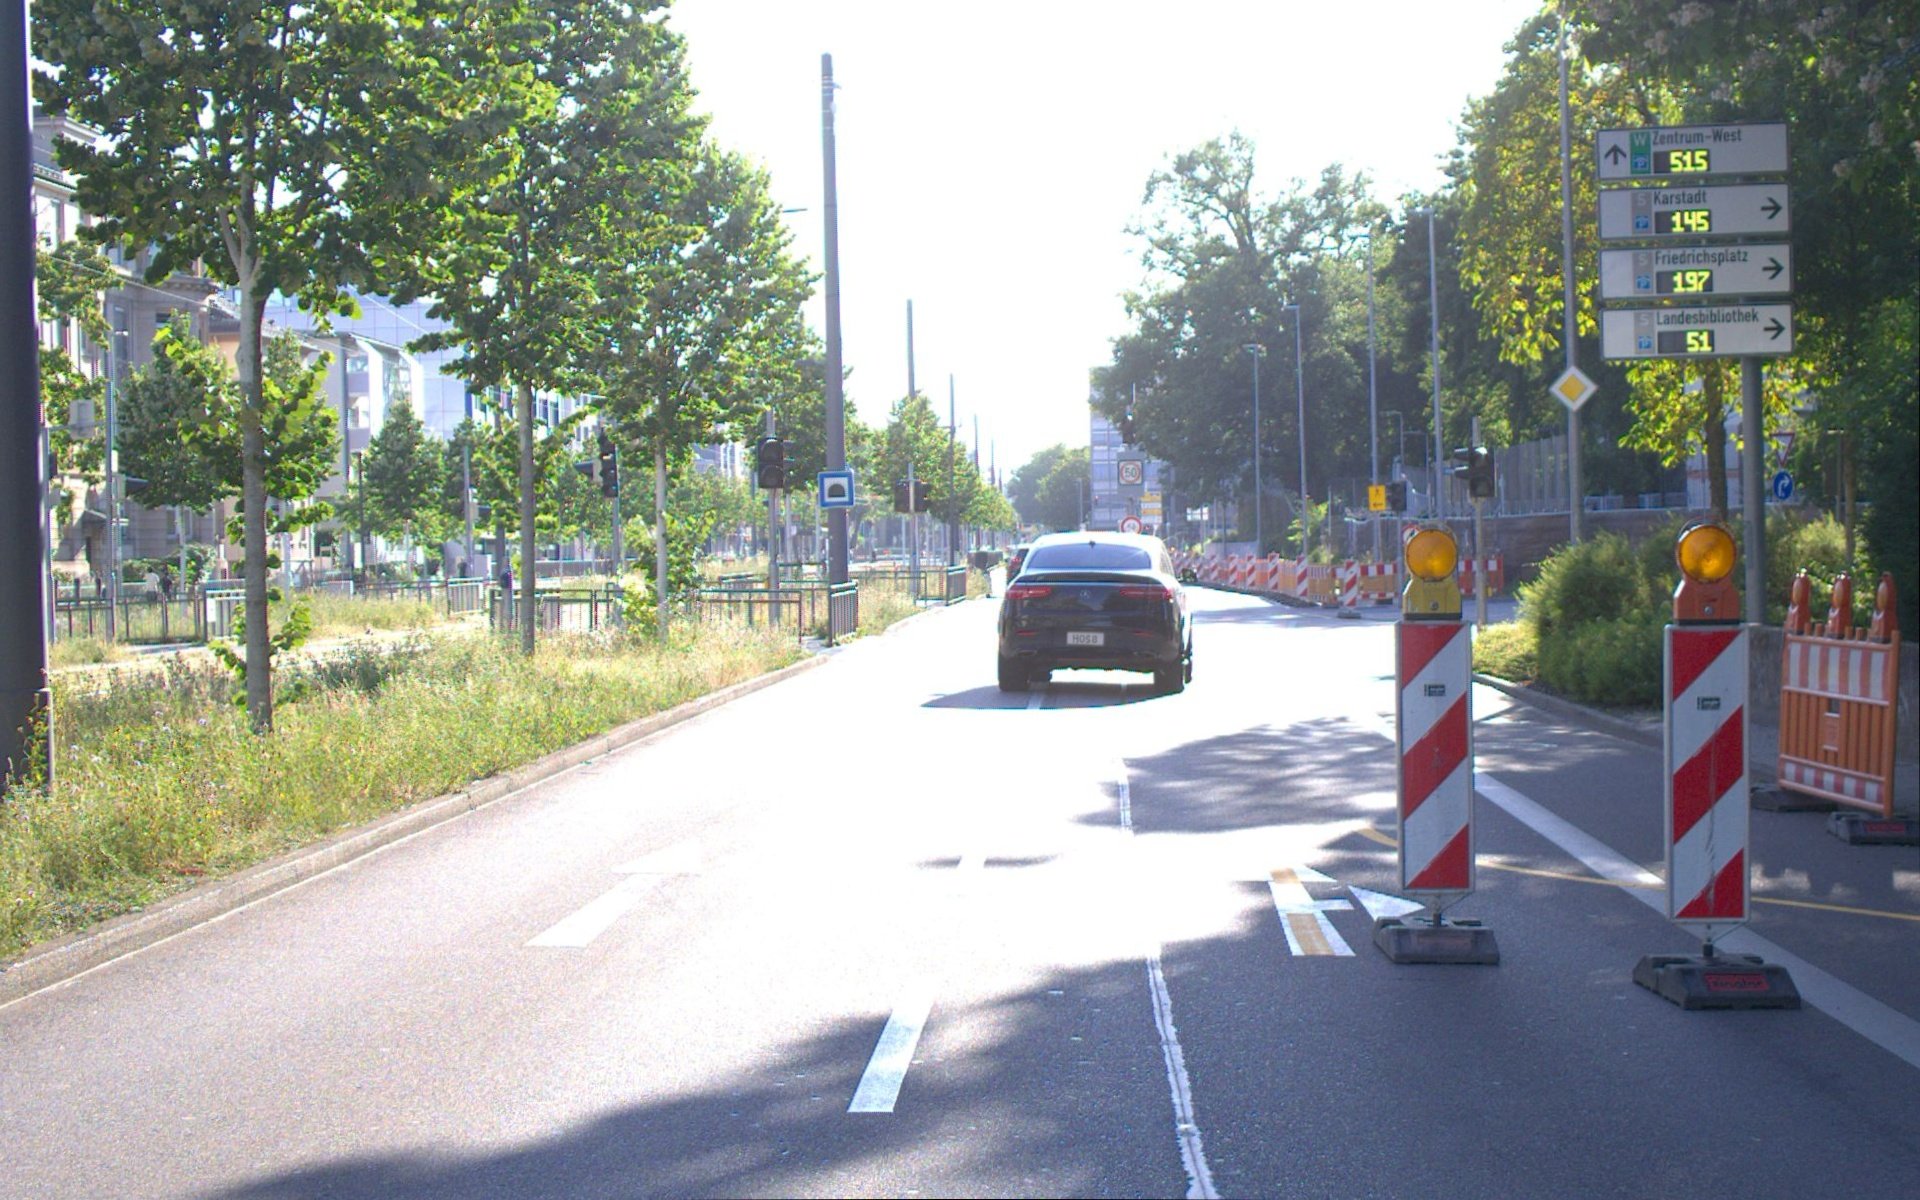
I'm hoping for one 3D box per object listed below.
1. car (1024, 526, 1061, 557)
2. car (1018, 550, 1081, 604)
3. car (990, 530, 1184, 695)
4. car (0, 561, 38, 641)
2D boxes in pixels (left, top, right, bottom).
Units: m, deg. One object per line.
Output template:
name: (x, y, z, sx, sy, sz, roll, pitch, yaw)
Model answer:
car: (4.326, -3.056, 179.793, 1.886, 1.575, 4.000, 0, 2, 1)
car: (2.761, -0.732, 105.936, 1.886, 1.575, 4.000, 0, 2, 1)
car: (1.354, 0.097, 38.166, 1.993, 1.728, 4.000, 0, 1, 0)
car: (-20.662, 0.045, 71.229, 1.884, 1.634, 4.000, -1, 1, 2)
